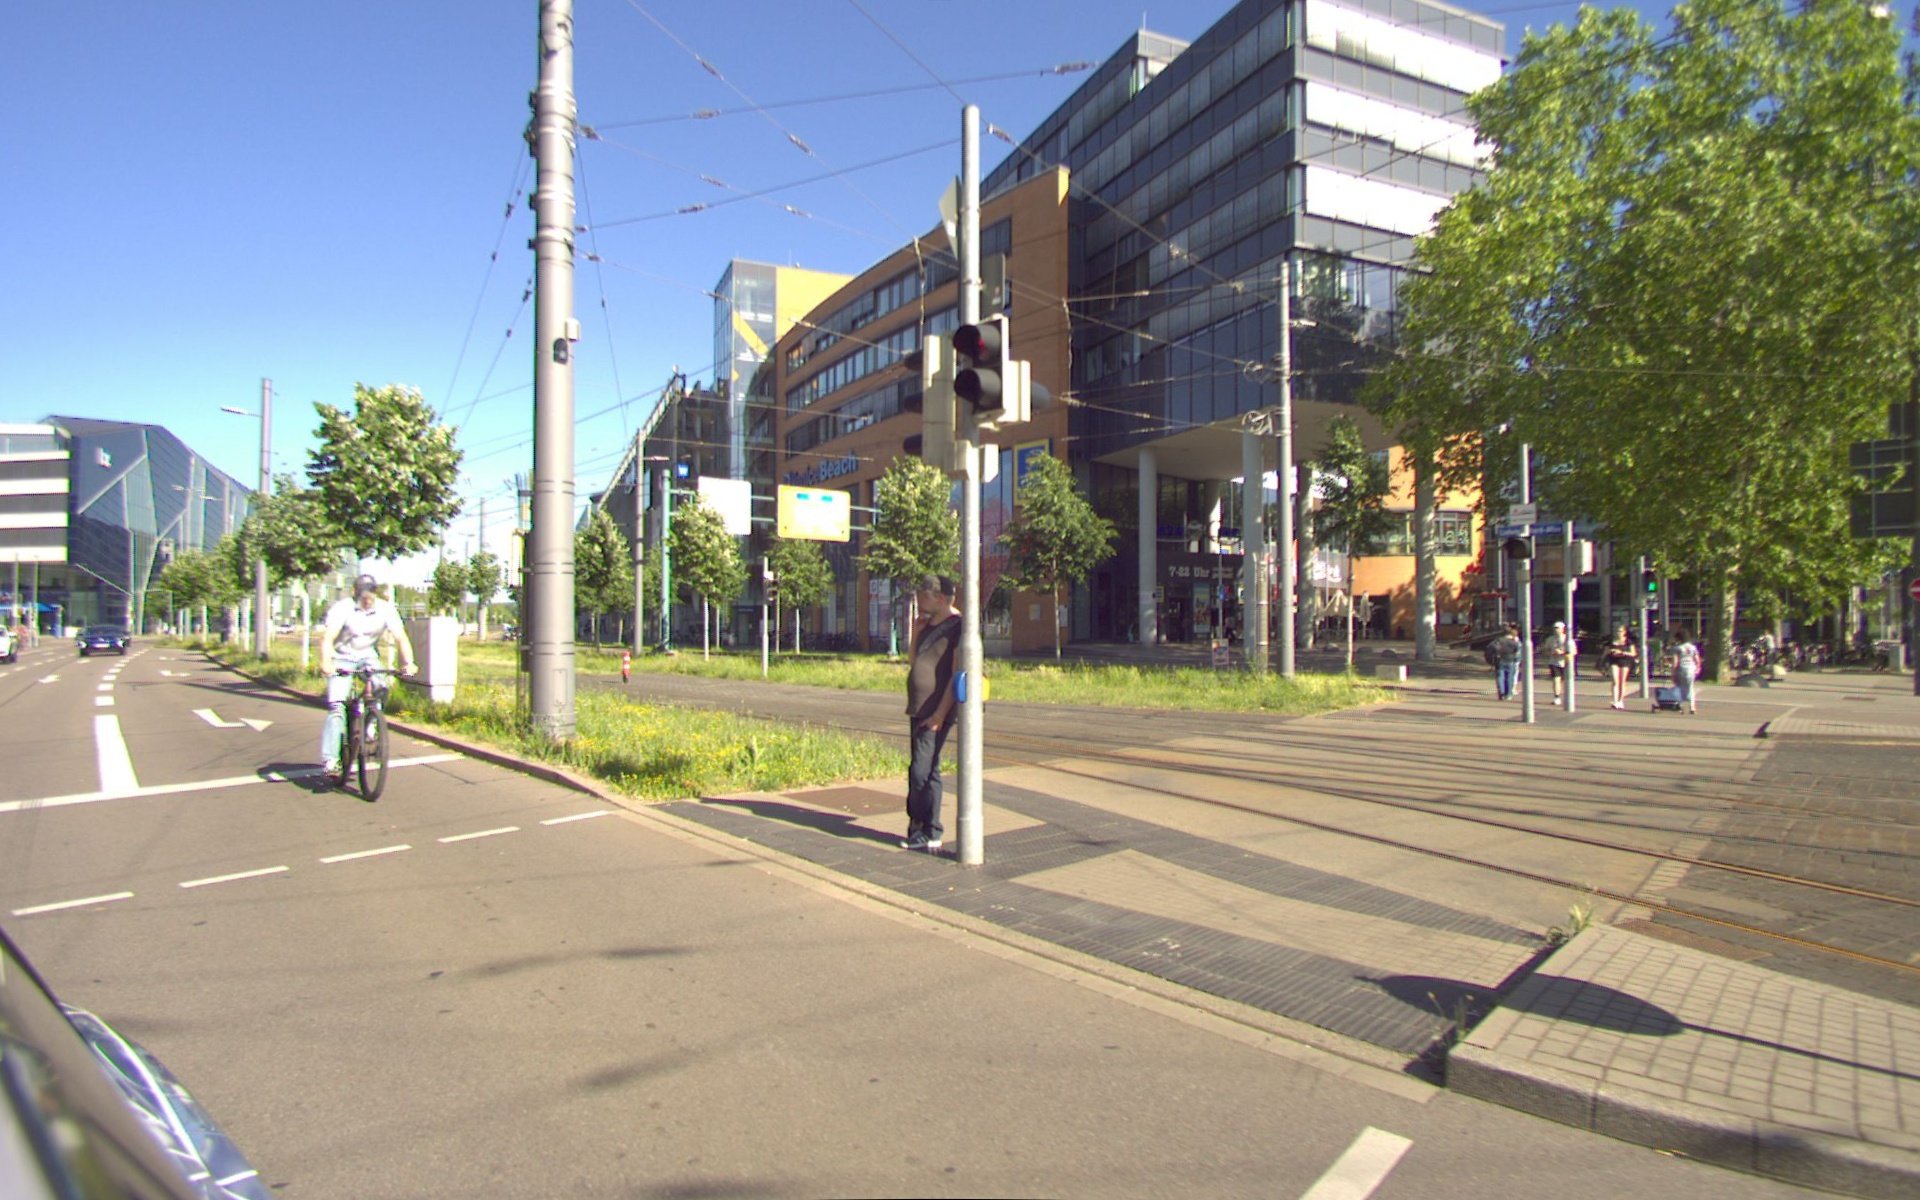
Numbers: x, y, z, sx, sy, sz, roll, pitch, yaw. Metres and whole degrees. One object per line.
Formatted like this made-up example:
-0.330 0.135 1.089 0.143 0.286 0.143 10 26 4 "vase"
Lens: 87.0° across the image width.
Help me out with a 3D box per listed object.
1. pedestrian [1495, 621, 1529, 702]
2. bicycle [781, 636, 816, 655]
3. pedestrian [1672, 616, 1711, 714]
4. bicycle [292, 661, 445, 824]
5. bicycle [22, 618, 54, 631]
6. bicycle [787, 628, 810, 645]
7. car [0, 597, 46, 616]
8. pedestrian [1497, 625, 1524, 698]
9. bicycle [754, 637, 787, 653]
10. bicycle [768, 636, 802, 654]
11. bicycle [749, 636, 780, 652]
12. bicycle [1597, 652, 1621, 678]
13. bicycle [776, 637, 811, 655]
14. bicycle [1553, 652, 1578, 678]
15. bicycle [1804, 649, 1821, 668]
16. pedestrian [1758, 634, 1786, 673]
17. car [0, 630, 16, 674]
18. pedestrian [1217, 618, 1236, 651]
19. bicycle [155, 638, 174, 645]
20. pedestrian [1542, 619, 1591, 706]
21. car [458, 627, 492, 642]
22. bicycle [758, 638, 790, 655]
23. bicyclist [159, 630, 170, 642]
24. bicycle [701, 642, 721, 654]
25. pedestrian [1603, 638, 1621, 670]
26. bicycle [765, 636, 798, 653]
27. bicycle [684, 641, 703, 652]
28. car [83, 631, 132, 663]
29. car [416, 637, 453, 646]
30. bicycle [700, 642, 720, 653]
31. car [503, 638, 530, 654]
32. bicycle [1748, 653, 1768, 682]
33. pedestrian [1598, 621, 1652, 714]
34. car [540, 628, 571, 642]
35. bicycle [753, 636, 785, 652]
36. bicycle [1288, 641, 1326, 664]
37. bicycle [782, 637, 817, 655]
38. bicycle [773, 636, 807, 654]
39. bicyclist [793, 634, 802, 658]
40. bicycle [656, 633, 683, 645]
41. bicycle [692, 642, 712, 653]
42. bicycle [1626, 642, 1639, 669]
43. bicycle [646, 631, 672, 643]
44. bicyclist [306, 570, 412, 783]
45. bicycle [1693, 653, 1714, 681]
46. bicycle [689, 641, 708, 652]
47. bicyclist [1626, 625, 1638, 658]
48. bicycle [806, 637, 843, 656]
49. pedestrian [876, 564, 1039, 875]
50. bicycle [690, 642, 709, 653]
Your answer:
12.707 1.402 23.313 0.493 1.845 0.580 -1 -2 12 "pedestrian"
-10.716 3.006 67.029 2.143 1.132 0.755 0 -2 -31 "bicycle"
13.927 1.224 19.281 0.460 1.845 0.384 -1 -2 19 "pedestrian"
-5.007 1.089 8.464 0.678 1.078 2.702 -1 -1 -39 "bicycle"
-72.009 1.898 79.073 1.678 0.961 0.699 2 -4 -26 "bicycle"
-9.412 2.135 58.879 0.349 0.933 1.898 2 -1 -41 "bicycle"
-80.282 0.542 85.642 3.934 1.568 1.879 0 -2 -11 "car"
14.081 1.553 25.886 0.454 1.845 0.460 -1 -2 12 "pedestrian"
-13.614 3.223 72.679 2.143 1.132 0.755 0 -2 -31 "bicycle"
-12.036 3.076 69.680 2.143 1.132 0.755 0 -2 -31 "bicycle"
-14.535 3.249 75.157 2.143 1.132 0.755 0 -2 -31 "bicycle"
21.240 2.117 33.118 0.375 0.805 2.003 -2 -2 40 "bicycle"
-11.155 3.053 67.916 2.143 1.132 0.755 0 -2 -31 "bicycle"
20.091 2.130 33.570 0.375 0.805 2.003 -2 -2 40 "bicycle"
35.710 2.448 42.398 0.444 0.788 1.476 -2 -3 38 "bicycle"
30.579 2.009 38.109 0.637 1.463 0.502 0 -2 -14 "pedestrian"
-39.870 2.103 41.120 1.845 1.642 4.347 1 -1 -38 "car"
13.642 1.764 51.715 0.500 1.636 0.789 1 -1 -40 "pedestrian"
-91.849 4.771 116.884 0.757 0.846 2.574 0 -2 -13 "bicycle"
13.117 1.335 21.896 0.751 1.845 0.626 1 -3 -35 "pedestrian"
-45.784 3.237 95.459 1.967 1.344 4.800 1 -2 -37 "car"
-13.181 3.268 71.736 2.143 1.132 0.755 0 -2 -31 "bicycle"
-91.846 4.138 116.874 0.749 1.420 0.773 0 -2 -13 "bicyclist"
-19.225 3.712 78.101 1.426 0.825 0.447 0 -2 -31 "bicycle"
27.124 2.238 42.111 0.547 1.303 0.424 -2 -3 41 "pedestrian"
-12.455 3.106 70.605 2.143 1.132 0.755 0 -2 -31 "bicycle"
-21.865 3.791 83.013 1.426 0.825 0.447 0 -2 -31 "bicycle"
-43.729 2.391 51.972 1.845 1.568 4.007 1 -2 -39 "car"
-64.794 5.074 124.739 3.931 1.098 2.006 1 -2 -29 "car"
-19.397 3.715 78.662 1.426 0.825 0.447 0 -2 -31 "bicycle"
-37.545 3.878 85.651 1.409 1.370 3.302 1 -2 -37 "car"
24.388 2.044 30.912 0.375 0.805 2.003 -2 -2 40 "bicycle"
13.621 1.365 20.733 0.750 1.845 0.626 1 -2 -31 "pedestrian"
-58.206 5.034 145.591 2.198 2.029 5.251 0 -2 2 "car"
-14.008 3.244 74.256 2.143 1.132 0.755 0 -2 -31 "bicycle"
17.749 2.691 51.769 0.487 1.143 1.806 2 -3 -41 "bicycle"
-10.478 2.999 66.214 2.143 1.132 0.755 0 -2 -31 "bicycle"
-11.555 3.071 68.752 2.143 1.132 0.755 0 -2 -31 "bicycle"
-9.450 2.656 58.902 0.336 1.387 0.482 2 -1 -41 "bicyclist"
-25.249 3.382 88.012 2.143 0.962 0.494 0 -2 -31 "bicycle"
-20.330 3.755 79.654 1.426 0.825 0.447 0 -2 -31 "bicycle"
35.644 2.941 53.614 0.465 1.363 2.343 -2 -2 36 "bicycle"
-26.571 3.286 89.492 2.143 0.962 0.494 0 -2 -31 "bicycle"
-5.107 0.612 8.582 0.610 1.682 1.021 -1 -1 -40 "bicyclist"
23.016 2.059 31.321 0.375 0.805 2.003 -2 -2 40 "bicycle"
-21.142 3.725 81.812 1.426 0.825 0.447 0 -2 -31 "bicycle"
35.651 2.210 53.669 0.465 1.734 0.479 -2 -3 36 "bicyclist"
-8.373 2.862 62.503 2.143 1.132 0.755 0 -2 -31 "bicycle"
-0.017 0.691 6.260 0.768 1.766 0.663 -2 -3 37 "pedestrian"
-20.719 3.775 80.469 1.426 0.825 0.447 0 -2 -31 "bicycle"
